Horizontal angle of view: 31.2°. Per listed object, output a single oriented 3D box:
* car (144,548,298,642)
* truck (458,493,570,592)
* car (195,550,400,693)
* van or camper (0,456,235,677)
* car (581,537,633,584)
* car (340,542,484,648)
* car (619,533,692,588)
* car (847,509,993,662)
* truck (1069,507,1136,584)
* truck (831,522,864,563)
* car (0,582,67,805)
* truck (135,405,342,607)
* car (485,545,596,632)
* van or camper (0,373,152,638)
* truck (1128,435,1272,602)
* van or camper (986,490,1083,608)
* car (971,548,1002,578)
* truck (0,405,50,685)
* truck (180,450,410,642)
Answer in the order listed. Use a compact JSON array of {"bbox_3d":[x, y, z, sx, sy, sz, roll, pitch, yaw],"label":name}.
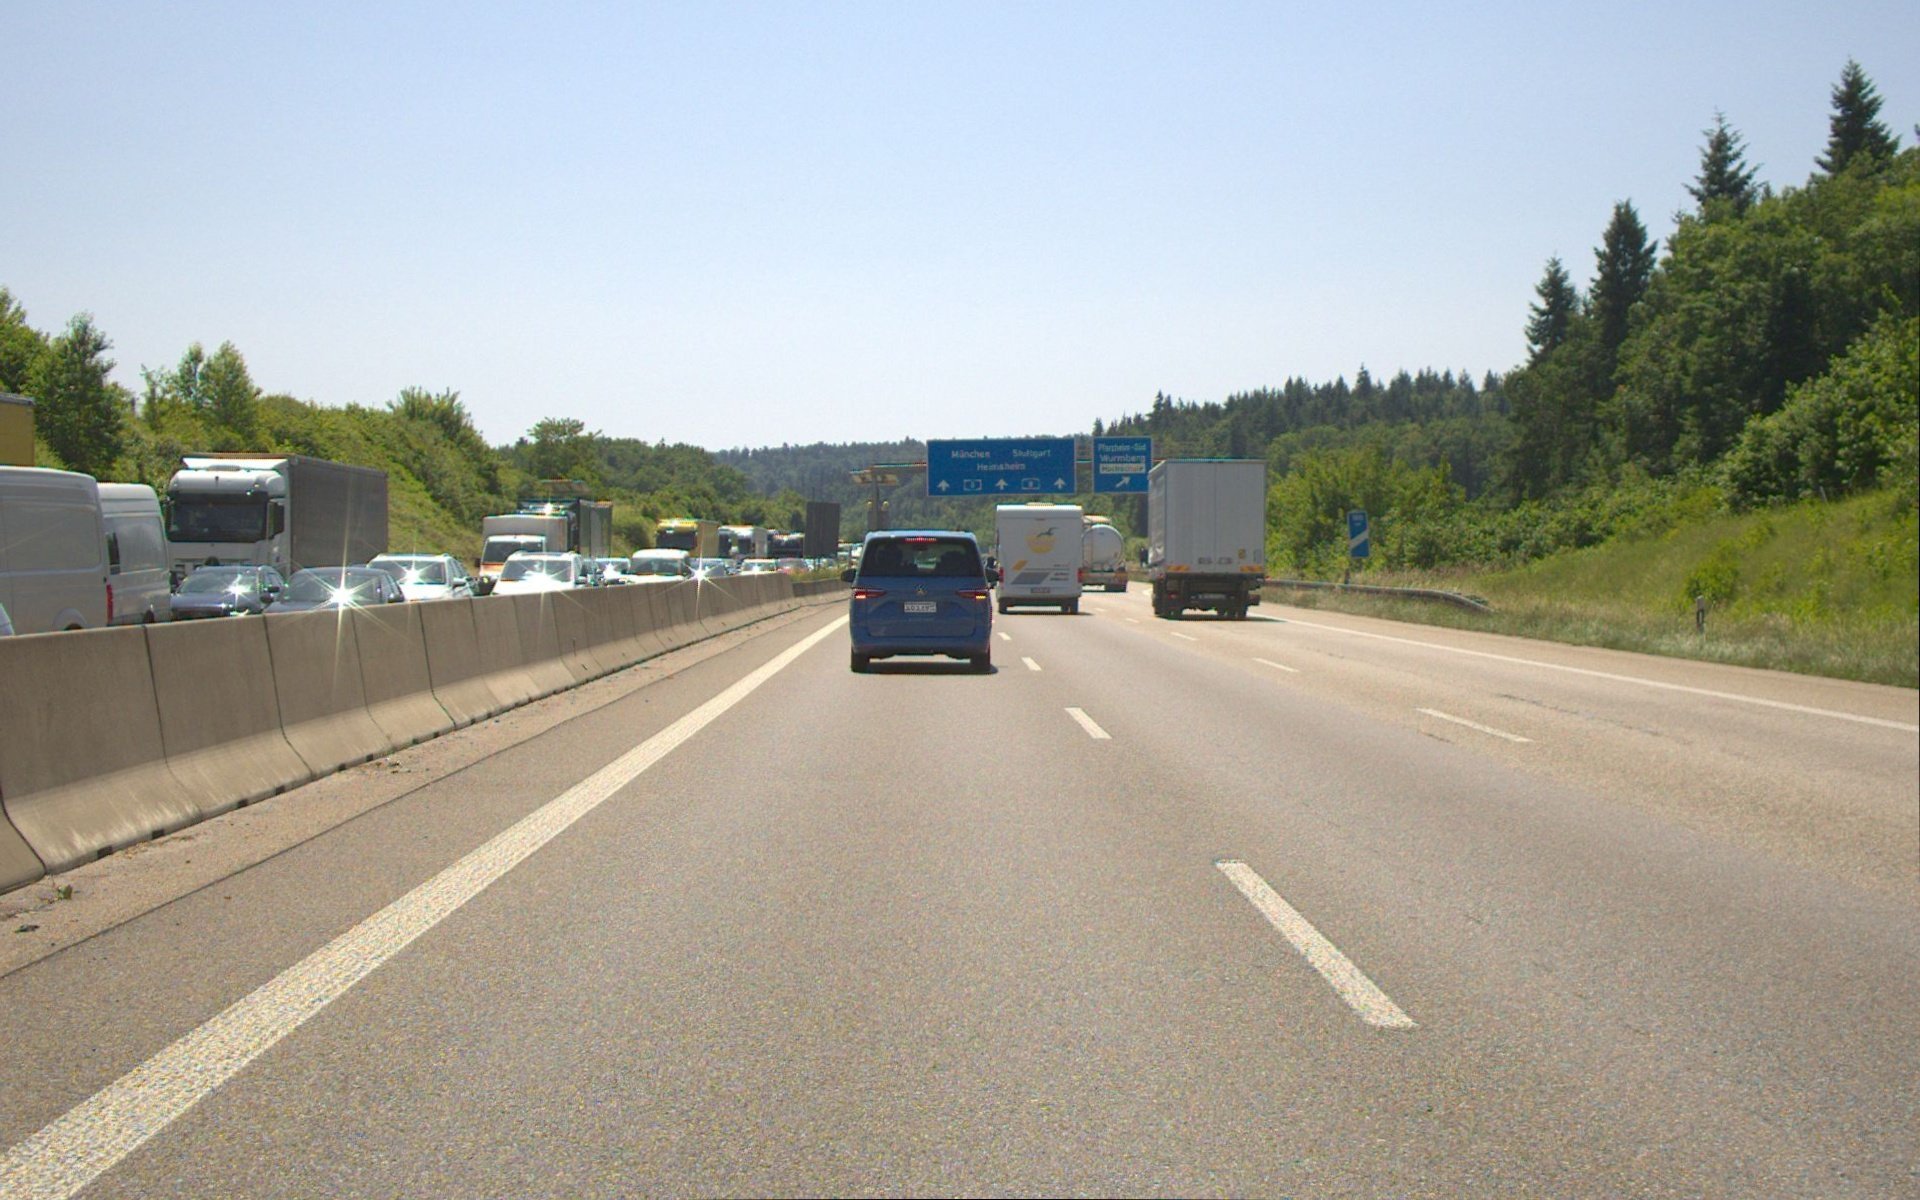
[{"bbox_3d":[-13.044,-0.094,60.898,1.827,1.559,4.524,1,0,-1],"label":"car"},{"bbox_3d":[-13.327,-1.670,103.118,2.568,2.835,6.753,1,0,-1],"label":"truck"},{"bbox_3d":[-8.677,0.255,45.398,1.827,1.758,4.991,1,0,-1],"label":"car"},{"bbox_3d":[-12.455,-0.468,49.560,2.197,2.929,7.534,1,0,1],"label":"van or camper"},{"bbox_3d":[-13.281,-1.477,129.370,1.571,1.725,3.885,1,0,-1],"label":"car"},{"bbox_3d":[-9.624,-0.096,60.738,1.827,1.758,4.991,1,0,-1],"label":"car"},{"bbox_3d":[-9.129,-1.164,103.262,1.827,1.559,5.111,1,0,-1],"label":"car"},{"bbox_3d":[-0.546,-0.217,47.037,1.909,2.007,4.000,0,1,-1],"label":"car"},{"bbox_3d":[6.769,-2.643,164.461,2.928,3.563,8.526,-1,1,1],"label":"truck"},{"bbox_3d":[-8.100,-4.136,247.944,2.120,2.832,6.212,1,0,1],"label":"truck"},{"bbox_3d":[-8.490,0.727,26.802,1.827,1.758,4.991,1,0,-1],"label":"car"},{"bbox_3d":[-17.044,-2.139,81.826,2.942,4.500,8.605,1,0,1],"label":"truck"},{"bbox_3d":[-8.911,-0.248,73.317,1.827,1.758,4.991,1,0,-1],"label":"car"},{"bbox_3d":[-11.132,-1.002,36.076,2.252,2.766,7.213,1,0,12],"label":"van or camper"},{"bbox_3d":[6.224,-2.047,90.505,2.783,4.114,9.740,1,0,-2],"label":"truck"},{"bbox_3d":[2.061,-1.386,97.237,2.603,3.068,7.181,1,-1,0],"label":"van or camper"},{"bbox_3d":[1.621,-2.268,209.256,1.776,1.766,4.000,0,1,-1],"label":"car"},{"bbox_3d":[-17.032,-0.879,49.063,3.696,4.441,16.675,1,0,0],"label":"truck"},{"bbox_3d":[-16.951,-1.305,88.816,2.995,4.527,13.924,1,0,1],"label":"truck"}]
